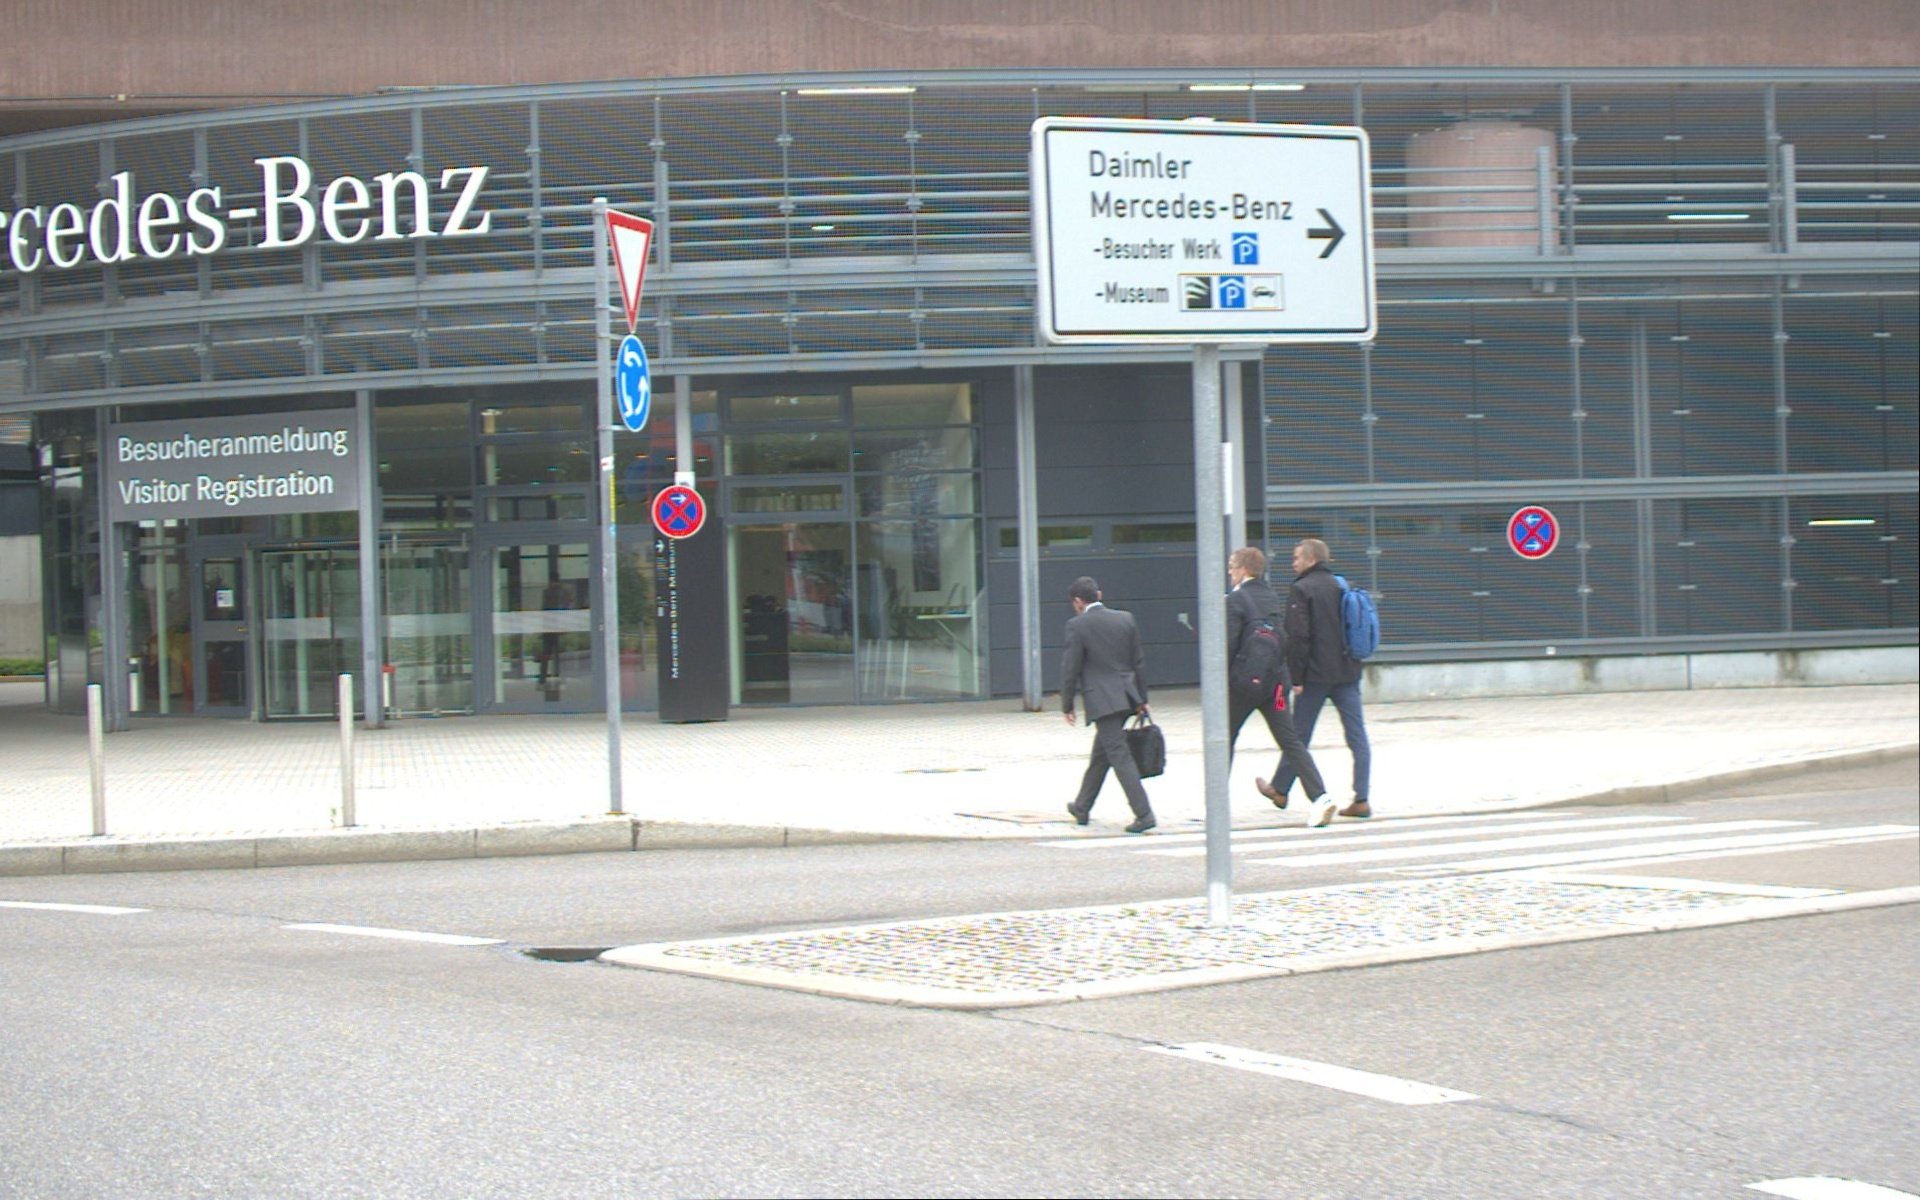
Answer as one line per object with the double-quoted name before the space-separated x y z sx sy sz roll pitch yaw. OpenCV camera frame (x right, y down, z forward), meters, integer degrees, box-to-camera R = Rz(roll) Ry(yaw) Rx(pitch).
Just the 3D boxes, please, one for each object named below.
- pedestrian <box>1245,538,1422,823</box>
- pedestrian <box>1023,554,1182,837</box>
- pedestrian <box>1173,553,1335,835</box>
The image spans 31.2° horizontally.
"pedestrian" 2.407 0.500 22.214 0.862 1.792 0.783 -1 1 -20
"pedestrian" 0.870 0.569 21.124 0.862 1.699 0.773 -1 1 -6
"pedestrian" 1.814 0.565 21.275 0.784 1.699 0.773 -1 1 -13
